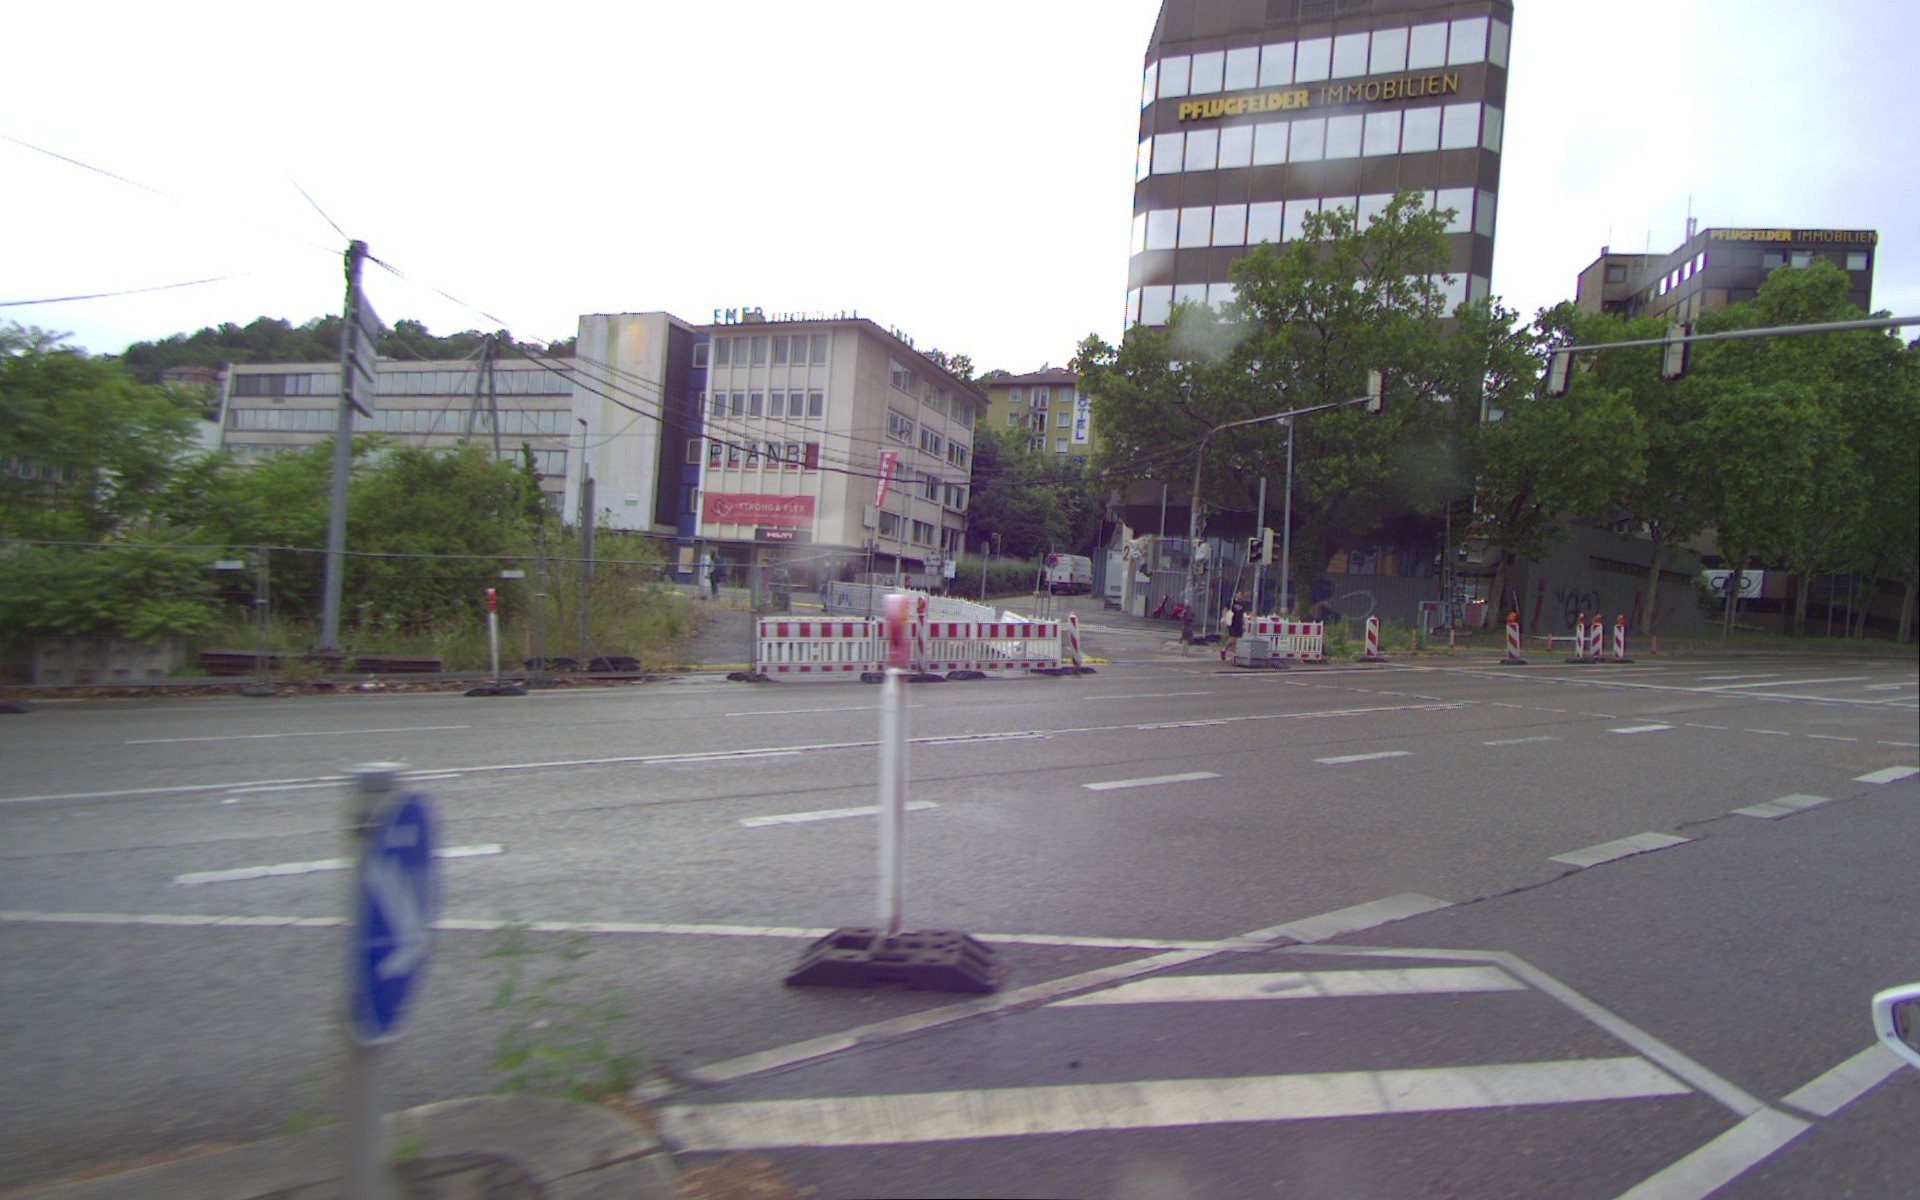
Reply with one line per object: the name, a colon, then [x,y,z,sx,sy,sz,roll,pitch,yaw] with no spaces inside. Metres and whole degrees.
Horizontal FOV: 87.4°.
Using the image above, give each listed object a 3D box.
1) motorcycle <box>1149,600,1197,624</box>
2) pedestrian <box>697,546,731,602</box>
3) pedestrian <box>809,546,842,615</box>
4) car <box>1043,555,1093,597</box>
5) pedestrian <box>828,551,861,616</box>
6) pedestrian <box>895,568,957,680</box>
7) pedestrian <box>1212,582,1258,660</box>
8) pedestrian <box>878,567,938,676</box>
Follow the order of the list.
motorcycle: [10.197,0.570,48.084,2.142,1.051,0.565,3,1,24]
pedestrian: [-8.343,-0.880,34.055,0.769,1.878,0.768,3,1,22]
pedestrian: [-4.462,-0.641,33.335,0.688,2.200,0.747,4,0,23]
car: [7.476,-1.621,68.965,2.184,2.474,5.507,4,0,18]
pedestrian: [-3.927,-0.558,34.106,0.728,2.168,0.747,4,1,23]
pedestrian: [-0.612,0.416,17.868,0.766,1.926,0.669,4,0,-29]
pedestrian: [6.989,0.528,25.562,0.741,1.905,0.734,4,0,-41]
pedestrian: [-0.957,0.391,18.514,0.733,1.948,0.757,4,0,-29]
